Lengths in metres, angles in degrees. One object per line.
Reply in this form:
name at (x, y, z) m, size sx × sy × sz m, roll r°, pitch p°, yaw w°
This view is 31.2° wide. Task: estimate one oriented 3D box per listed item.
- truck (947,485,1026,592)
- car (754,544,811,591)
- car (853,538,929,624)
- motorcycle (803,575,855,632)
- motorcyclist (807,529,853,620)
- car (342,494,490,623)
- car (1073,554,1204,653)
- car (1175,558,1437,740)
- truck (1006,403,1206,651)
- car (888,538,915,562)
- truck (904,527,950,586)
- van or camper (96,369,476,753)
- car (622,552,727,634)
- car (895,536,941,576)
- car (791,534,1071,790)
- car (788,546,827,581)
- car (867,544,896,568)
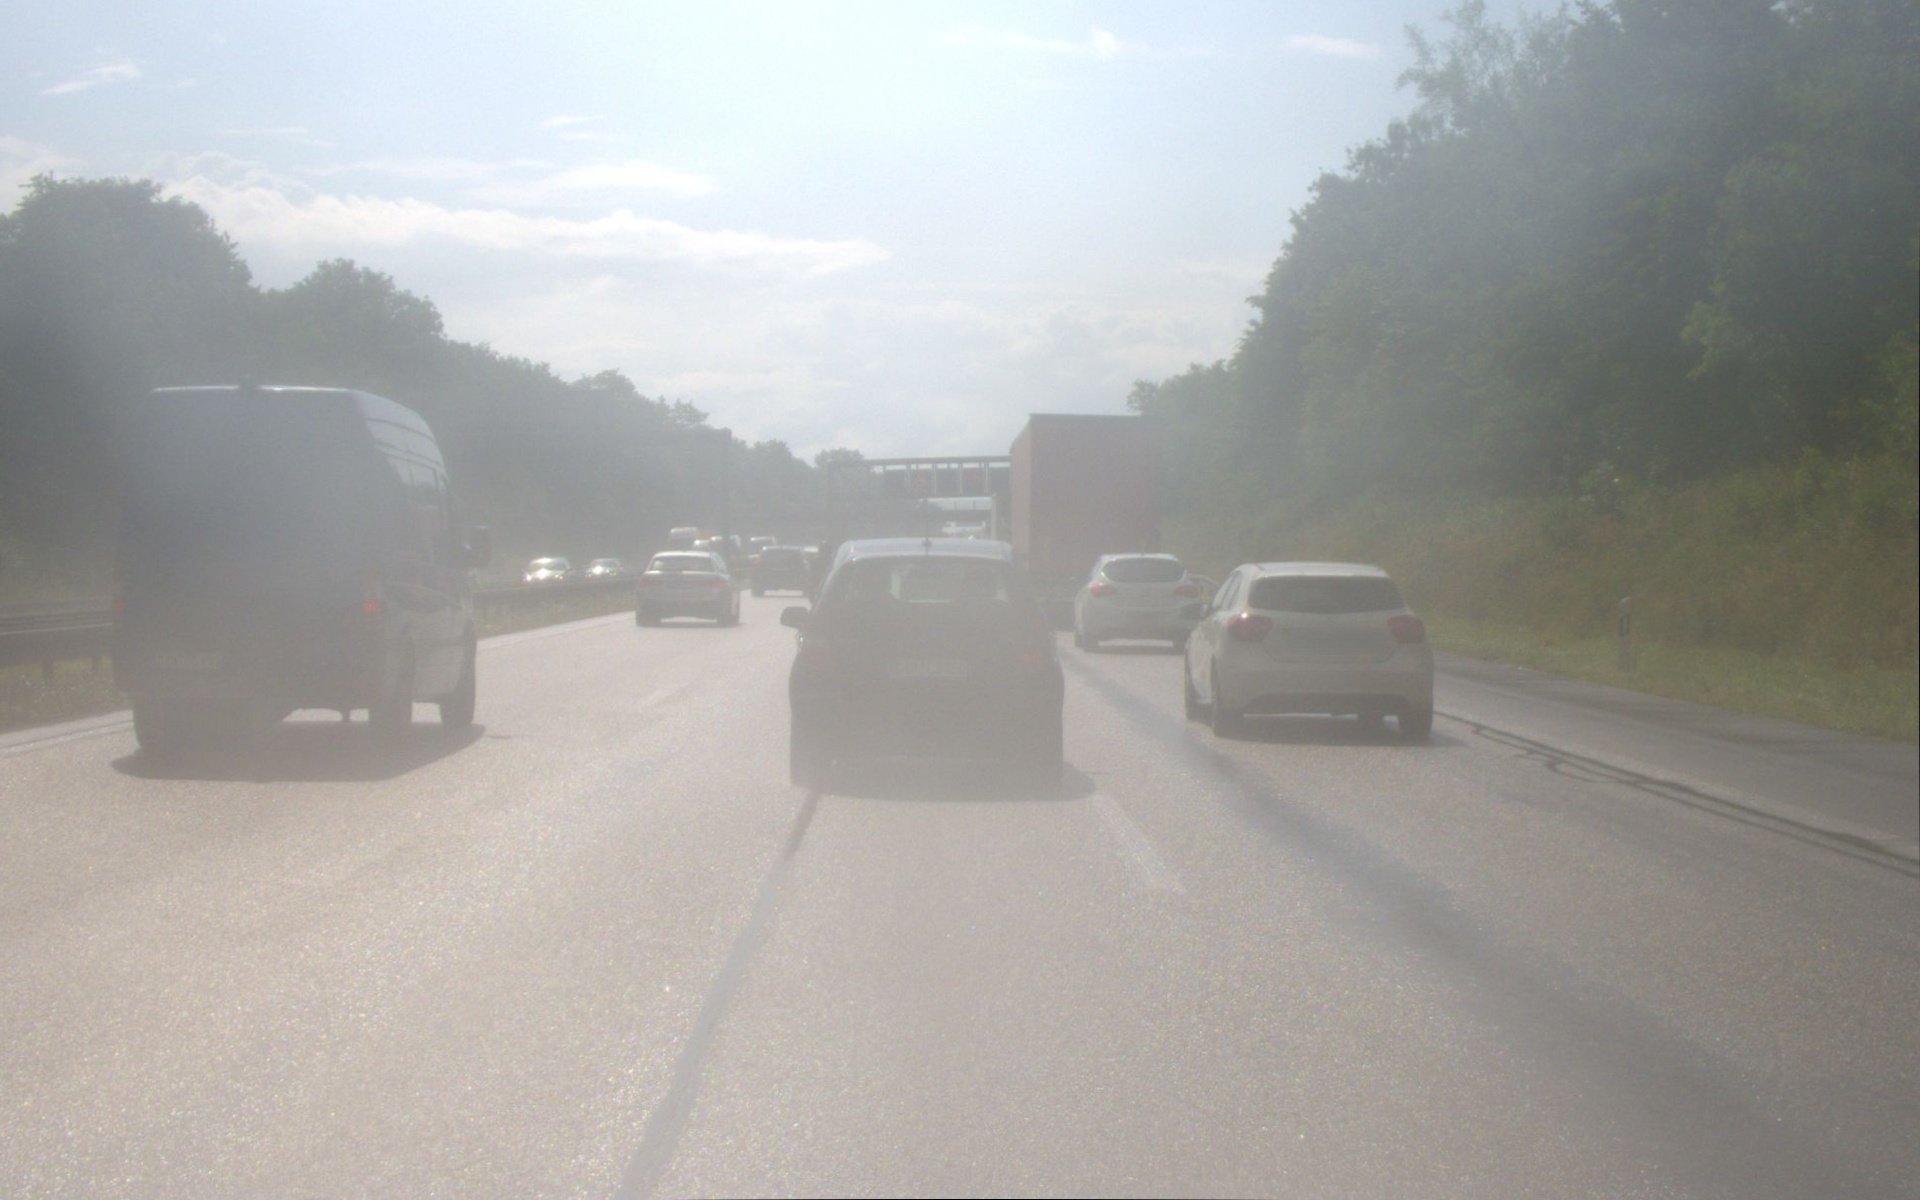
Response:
truck at (1.156, -2.673, 151.759) m, size 3.256 × 4.464 × 12.421 m, roll 1°, pitch 1°, yaw 0°
car at (-5.719, -1.059, 111.065) m, size 1.751 × 1.452 × 3.390 m, roll 1°, pitch 1°, yaw -1°
car at (-1.446, -0.403, 71.863) m, size 1.531 × 1.740 × 3.485 m, roll 1°, pitch 1°, yaw -1°
motorcycle at (-2.376, 0.051, 62.483) m, size 0.890 × 0.997 × 2.896 m, roll 1°, pitch 1°, yaw -1°
motorcyclist at (-2.353, -0.462, 62.433) m, size 0.801 × 1.627 × 1.013 m, roll 1°, pitch 1°, yaw -1°
car at (-10.852, -0.831, 68.994) m, size 2.183 × 2.444 × 5.748 m, roll 1°, pitch 1°, yaw -1°
car at (2.683, 0.029, 52.336) m, size 1.680 × 1.437 × 3.905 m, roll 1°, pitch 1°, yaw -1°
car at (2.876, 0.359, 29.331) m, size 1.692 × 1.420 × 4.220 m, roll 1°, pitch 1°, yaw -1°
truck at (2.912, -1.497, 74.280) m, size 3.650 × 4.704 × 16.779 m, roll 1°, pitch 1°, yaw 0°
car at (-4.333, -3.718, 255.342) m, size 1.993 × 1.722 × 4.000 m, roll 0°, pitch 1°, yaw 0°
truck at (-1.647, -2.185, 171.038) m, size 2.192 × 2.865 × 4.850 m, roll 1°, pitch 1°, yaw -1°
van or camper at (-5.082, -0.305, 26.685) m, size 1.993 × 2.659 × 5.385 m, roll 1°, pitch 1°, yaw -1°
car at (-5.624, -0.157, 68.013) m, size 1.854 × 1.546 × 3.485 m, roll 1°, pitch 1°, yaw -1°
car at (-1.475, -1.526, 119.721) m, size 1.552 × 1.378 × 3.210 m, roll 1°, pitch 1°, yaw -1°
car at (-0.223, 0.363, 22.997) m, size 1.717 × 1.562 × 3.485 m, roll 1°, pitch 1°, yaw -1°
car at (-6.150, -1.484, 138.796) m, size 1.460 × 1.389 × 3.312 m, roll 1°, pitch 1°, yaw -1°
car at (-4.383, -2.442, 191.017) m, size 1.549 × 1.262 × 3.485 m, roll 1°, pitch 1°, yaw -2°
